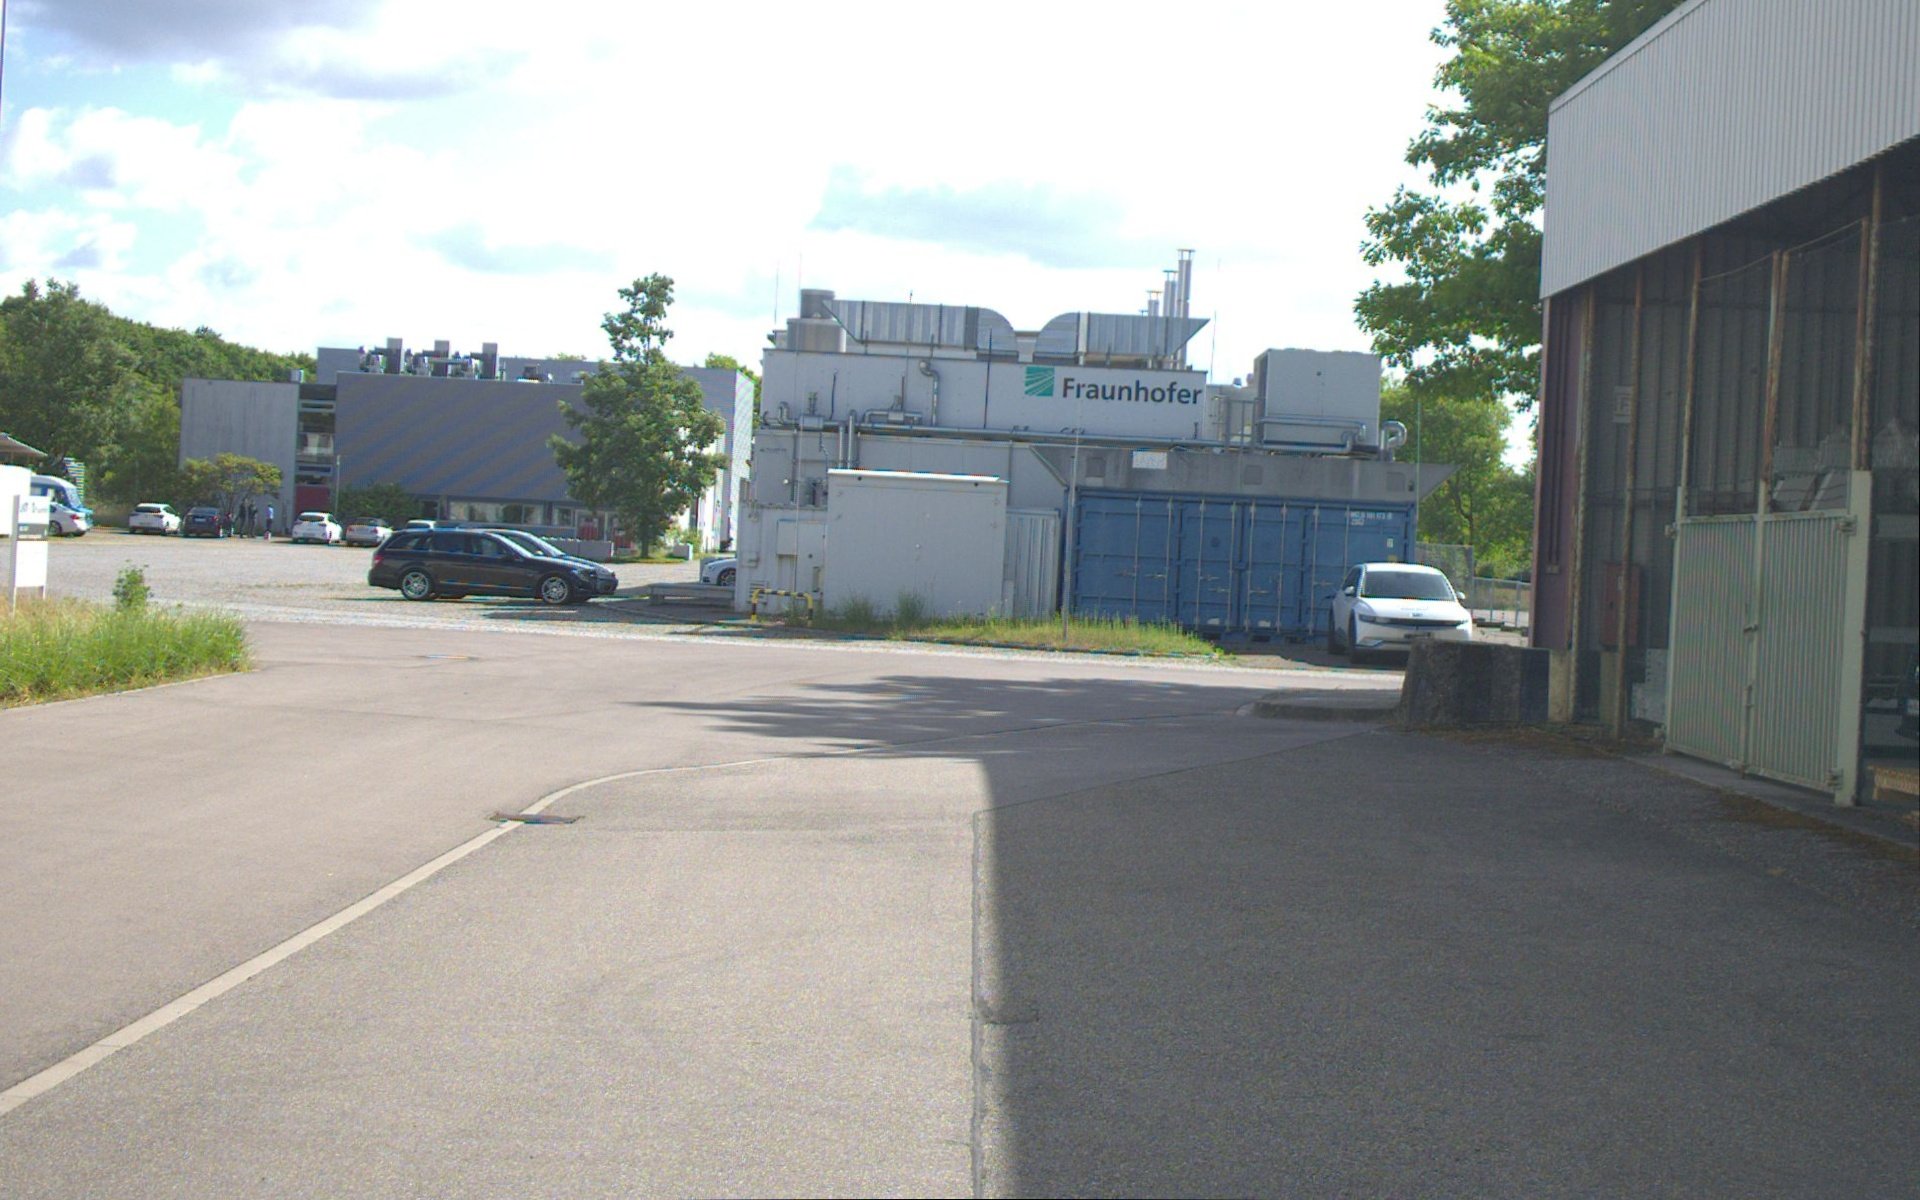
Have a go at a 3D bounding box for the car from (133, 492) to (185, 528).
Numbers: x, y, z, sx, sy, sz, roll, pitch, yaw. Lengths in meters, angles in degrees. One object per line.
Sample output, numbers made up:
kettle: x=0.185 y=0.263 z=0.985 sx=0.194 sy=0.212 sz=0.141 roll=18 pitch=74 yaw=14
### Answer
car: x=-38.674 y=-4.345 z=165.990 sx=1.846 sy=1.663 sz=4.134 roll=1 pitch=1 yaw=-5

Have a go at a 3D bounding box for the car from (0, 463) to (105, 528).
car: x=-38.389 y=-4.374 z=142.466 sx=5.259 sy=2.433 sz=2.049 roll=3 pitch=1 yaw=4

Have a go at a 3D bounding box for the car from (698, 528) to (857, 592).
car: x=-5.106 y=-1.107 z=96.707 sx=4.279 sy=1.564 sz=1.987 roll=3 pitch=-1 yaw=1

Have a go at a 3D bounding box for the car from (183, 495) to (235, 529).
car: x=-36.222 y=-4.232 z=165.856 sx=1.877 sy=1.532 sz=4.036 roll=1 pitch=1 yaw=-5

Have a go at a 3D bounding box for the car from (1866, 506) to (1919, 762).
car: x=9.756 y=0.368 z=25.800 sx=5.164 sy=1.912 sz=2.279 roll=3 pitch=0 yaw=-5

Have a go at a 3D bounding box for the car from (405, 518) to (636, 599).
car: x=-9.200 y=-0.860 z=72.246 sx=4.529 sy=1.438 sz=1.904 roll=3 pitch=-1 yaw=1

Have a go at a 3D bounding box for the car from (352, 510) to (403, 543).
car: x=-28.097 y=-3.531 z=165.903 sx=1.877 sy=1.532 sz=4.036 roll=1 pitch=1 yaw=-2

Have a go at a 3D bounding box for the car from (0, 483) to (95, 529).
car: x=-37.434 y=-3.835 z=139.525 sx=4.110 sy=1.625 sz=1.807 roll=3 pitch=1 yaw=4

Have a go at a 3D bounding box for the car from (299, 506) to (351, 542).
car: x=-30.663 y=-3.657 z=166.070 sx=1.877 sy=1.684 sz=4.036 roll=1 pitch=1 yaw=-2

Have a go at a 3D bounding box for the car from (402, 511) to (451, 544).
car: x=-25.769 y=-3.490 z=166.109 sx=1.877 sy=1.532 sz=4.036 roll=1 pitch=1 yaw=-2

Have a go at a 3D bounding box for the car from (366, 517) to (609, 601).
car: x=-9.441 y=-0.817 z=68.989 sx=4.529 sy=1.438 sz=1.987 roll=3 pitch=-1 yaw=1

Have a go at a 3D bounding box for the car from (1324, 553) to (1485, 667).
car: x=7.222 y=0.124 z=56.286 sx=1.981 sy=1.588 sz=4.341 roll=3 pitch=2 yaw=0
